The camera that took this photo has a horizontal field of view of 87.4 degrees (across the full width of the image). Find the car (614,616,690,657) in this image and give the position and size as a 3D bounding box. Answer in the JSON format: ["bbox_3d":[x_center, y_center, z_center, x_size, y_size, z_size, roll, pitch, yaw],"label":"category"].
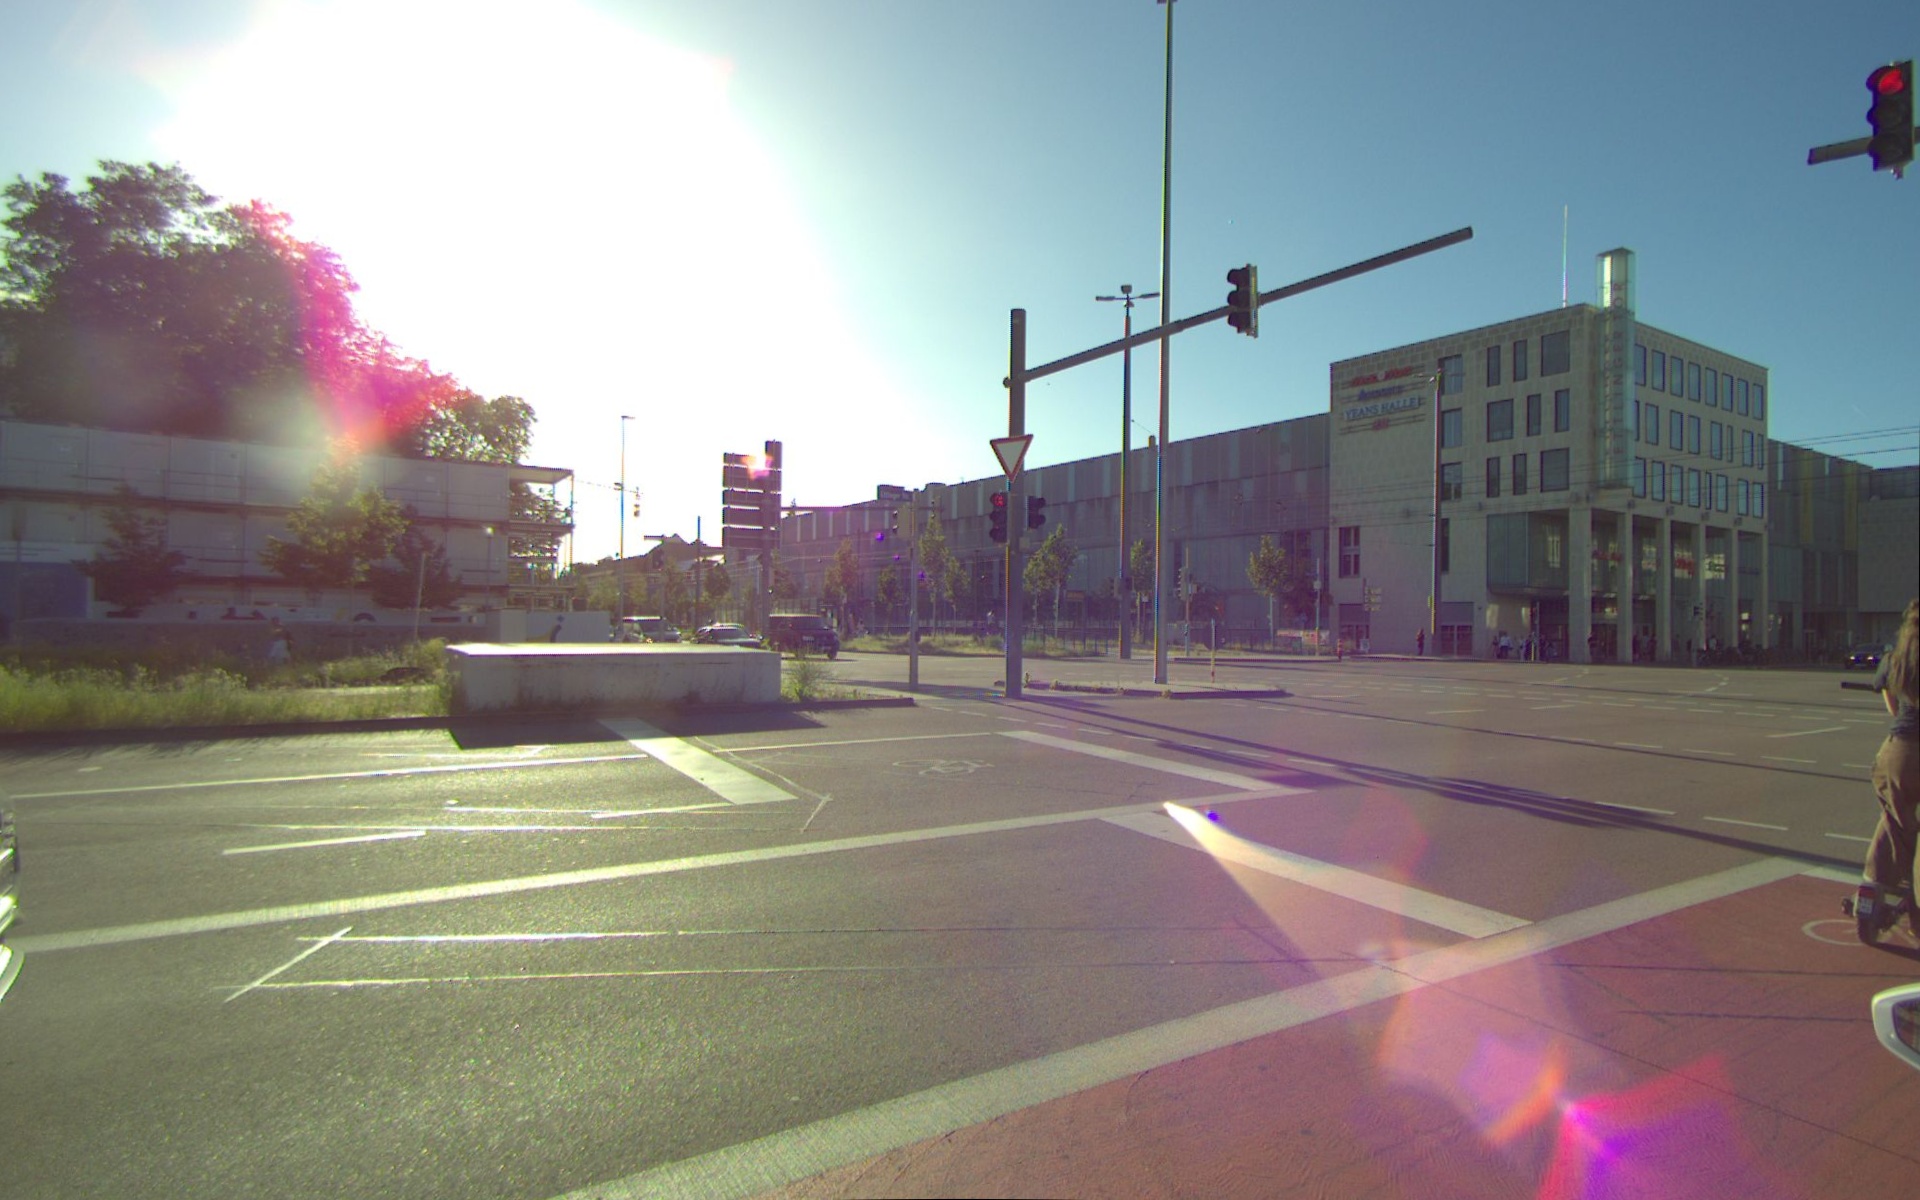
[{"bbox_3d":[-14.791,1.702,48.084,1.981,1.849,4.821,1,-2,-36],"label":"car"}]

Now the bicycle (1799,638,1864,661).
[{"bbox_3d":[62.661,3.525,72.252,0.979,1.547,3.462,2,-2,-40],"label":"bicycle"}]

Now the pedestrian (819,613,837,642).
[{"bbox_3d":[-8.574,1.780,65.148,0.890,1.855,0.786,2,-1,-38],"label":"pedestrian"}]

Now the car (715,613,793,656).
[{"bbox_3d":[-10.395,1.695,50.416,1.981,2.040,4.821,1,-2,-36],"label":"car"}]

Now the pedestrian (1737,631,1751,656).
[{"bbox_3d":[53.789,2.968,68.906,0.689,1.664,0.648,1,-1,-38],"label":"pedestrian"}]

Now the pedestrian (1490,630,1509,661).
[{"bbox_3d":[32.267,2.719,60.047,0.729,1.822,0.752,1,-1,-34],"label":"pedestrian"}]

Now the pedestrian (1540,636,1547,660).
[{"bbox_3d":[35.260,2.898,60.715,0.380,1.445,0.502,0,-1,31],"label":"pedestrian"}]

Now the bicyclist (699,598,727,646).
[{"bbox_3d":[-13.788,1.230,56.047,1.007,2.677,1.610,1,-1,-34],"label":"bicyclist"}]

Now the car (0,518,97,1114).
[{"bbox_3d":[-4.693,0.565,1.738,4.566,1.666,1.922,1,-1,-32],"label":"car"}]

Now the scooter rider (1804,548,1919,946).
[{"bbox_3d":[4.656,0.670,4.798,0.801,1.798,0.725,1,-1,-30],"label":"scooter rider"}]

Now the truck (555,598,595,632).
[{"bbox_3d":[-33.484,1.325,87.248,1.979,2.875,6.293,1,-2,-33],"label":"truck"}]

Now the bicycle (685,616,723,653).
[{"bbox_3d":[-14.609,1.951,57.247,1.007,2.040,3.472,1,-2,-33],"label":"bicycle"}]

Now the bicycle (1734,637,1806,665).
[{"bbox_3d":[51.115,3.191,63.423,0.979,1.719,3.462,1,-2,-40],"label":"bicycle"}]

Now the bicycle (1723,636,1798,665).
[{"bbox_3d":[49.139,3.081,61.738,1.107,1.719,3.465,1,-2,-38],"label":"bicycle"}]

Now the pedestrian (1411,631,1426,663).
[{"bbox_3d":[24.353,2.488,53.335,0.543,1.716,0.521,1,-1,-40],"label":"pedestrian"}]

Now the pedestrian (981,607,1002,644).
[{"bbox_3d":[1.580,1.295,50.592,0.788,1.855,0.706,1,-1,-37],"label":"pedestrian"}]

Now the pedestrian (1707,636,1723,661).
[{"bbox_3d":[51.153,3.300,68.051,0.689,1.664,0.777,1,-1,-40],"label":"pedestrian"}]

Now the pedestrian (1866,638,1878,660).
[{"bbox_3d":[69.620,3.753,76.697,0.685,1.664,0.695,0,-1,42],"label":"pedestrian"}]

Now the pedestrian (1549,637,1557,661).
[{"bbox_3d":[35.717,2.922,60.476,0.380,1.431,0.437,0,-1,29],"label":"pedestrian"}]

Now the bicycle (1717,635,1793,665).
[{"bbox_3d":[48.210,3.014,60.937,1.107,1.719,3.465,1,-2,-38],"label":"bicycle"}]

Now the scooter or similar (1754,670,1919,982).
[{"bbox_3d":[4.533,0.971,4.710,1.645,1.218,0.725,1,-1,-30],"label":"scooter or similar"}]

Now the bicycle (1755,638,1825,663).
[{"bbox_3d":[55.251,3.330,66.920,0.979,1.547,3.462,2,-2,-40],"label":"bicycle"}]

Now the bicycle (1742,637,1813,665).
[{"bbox_3d":[52.854,3.260,64.961,0.979,1.719,3.462,1,-2,-40],"label":"bicycle"}]

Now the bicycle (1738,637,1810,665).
[{"bbox_3d":[51.941,3.228,64.157,0.979,1.719,3.462,1,-2,-40],"label":"bicycle"}]

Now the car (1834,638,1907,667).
[{"bbox_3d":[51.069,2.930,56.336,3.953,1.505,1.984,1,-1,-30],"label":"car"}]

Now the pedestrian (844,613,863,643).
[{"bbox_3d":[-6.735,1.789,63.521,0.889,1.855,0.787,1,-1,-35],"label":"pedestrian"}]

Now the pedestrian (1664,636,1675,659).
[{"bbox_3d":[50.548,3.398,71.538,0.592,1.606,0.479,1,-1,-34],"label":"pedestrian"}]

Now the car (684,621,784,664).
[{"bbox_3d":[-9.402,1.704,41.510,2.313,1.671,4.821,1,-2,-37],"label":"car"}]

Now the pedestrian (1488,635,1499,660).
[{"bbox_3d":[33.040,2.937,62.211,0.452,1.586,0.420,1,-1,-30],"label":"pedestrian"}]

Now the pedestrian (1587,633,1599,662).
[{"bbox_3d":[36.818,2.737,58.440,0.532,1.664,0.549,0,-1,28],"label":"pedestrian"}]

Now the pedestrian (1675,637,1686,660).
[{"bbox_3d":[51.109,3.427,71.272,0.592,1.606,0.479,1,-1,-34],"label":"pedestrian"}]

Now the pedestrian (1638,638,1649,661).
[{"bbox_3d":[44.914,3.251,66.004,0.508,1.530,0.479,1,-1,-34],"label":"pedestrian"}]

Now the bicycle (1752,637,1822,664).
[{"bbox_3d":[54.500,3.321,66.251,0.979,1.719,3.462,1,-2,-40],"label":"bicycle"}]

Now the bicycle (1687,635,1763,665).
[{"bbox_3d":[45.694,2.978,60.031,1.107,1.719,3.465,1,-2,-38],"label":"bicycle"}]

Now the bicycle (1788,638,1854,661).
[{"bbox_3d":[60.377,3.435,70.470,0.979,1.547,3.462,2,-2,-40],"label":"bicycle"}]

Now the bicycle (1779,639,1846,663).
[{"bbox_3d":[58.869,3.480,69.388,0.979,1.547,3.462,2,-2,-40],"label":"bicycle"}]

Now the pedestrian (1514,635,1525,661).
[{"bbox_3d":[34.348,2.947,61.679,0.453,1.547,0.418,1,-1,-37],"label":"pedestrian"}]

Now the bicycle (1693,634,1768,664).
[{"bbox_3d":[46.583,2.970,60.805,1.107,1.719,3.465,1,-2,-38],"label":"bicycle"}]

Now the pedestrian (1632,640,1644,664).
[{"bbox_3d":[44.371,3.403,65.764,0.508,1.606,0.479,1,-1,-34],"label":"pedestrian"}]

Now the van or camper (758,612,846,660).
[{"bbox_3d":[-7.224,1.592,45.559,1.981,2.040,4.821,1,-2,-36],"label":"van or camper"}]

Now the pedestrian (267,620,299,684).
[{"bbox_3d":[-18.270,1.386,27.115,0.619,1.674,0.935,1,-1,-30],"label":"pedestrian"}]

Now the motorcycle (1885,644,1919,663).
[{"bbox_3d":[70.741,4.019,75.084,0.713,1.335,2.260,1,-2,-34],"label":"motorcycle"}]

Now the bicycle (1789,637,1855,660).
[{"bbox_3d":[61.183,3.452,71.302,0.979,1.547,3.462,2,-2,-40],"label":"bicycle"}]

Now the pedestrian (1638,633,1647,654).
[{"bbox_3d":[47.226,3.028,69.507,0.363,1.458,0.384,1,-1,-34],"label":"pedestrian"}]
